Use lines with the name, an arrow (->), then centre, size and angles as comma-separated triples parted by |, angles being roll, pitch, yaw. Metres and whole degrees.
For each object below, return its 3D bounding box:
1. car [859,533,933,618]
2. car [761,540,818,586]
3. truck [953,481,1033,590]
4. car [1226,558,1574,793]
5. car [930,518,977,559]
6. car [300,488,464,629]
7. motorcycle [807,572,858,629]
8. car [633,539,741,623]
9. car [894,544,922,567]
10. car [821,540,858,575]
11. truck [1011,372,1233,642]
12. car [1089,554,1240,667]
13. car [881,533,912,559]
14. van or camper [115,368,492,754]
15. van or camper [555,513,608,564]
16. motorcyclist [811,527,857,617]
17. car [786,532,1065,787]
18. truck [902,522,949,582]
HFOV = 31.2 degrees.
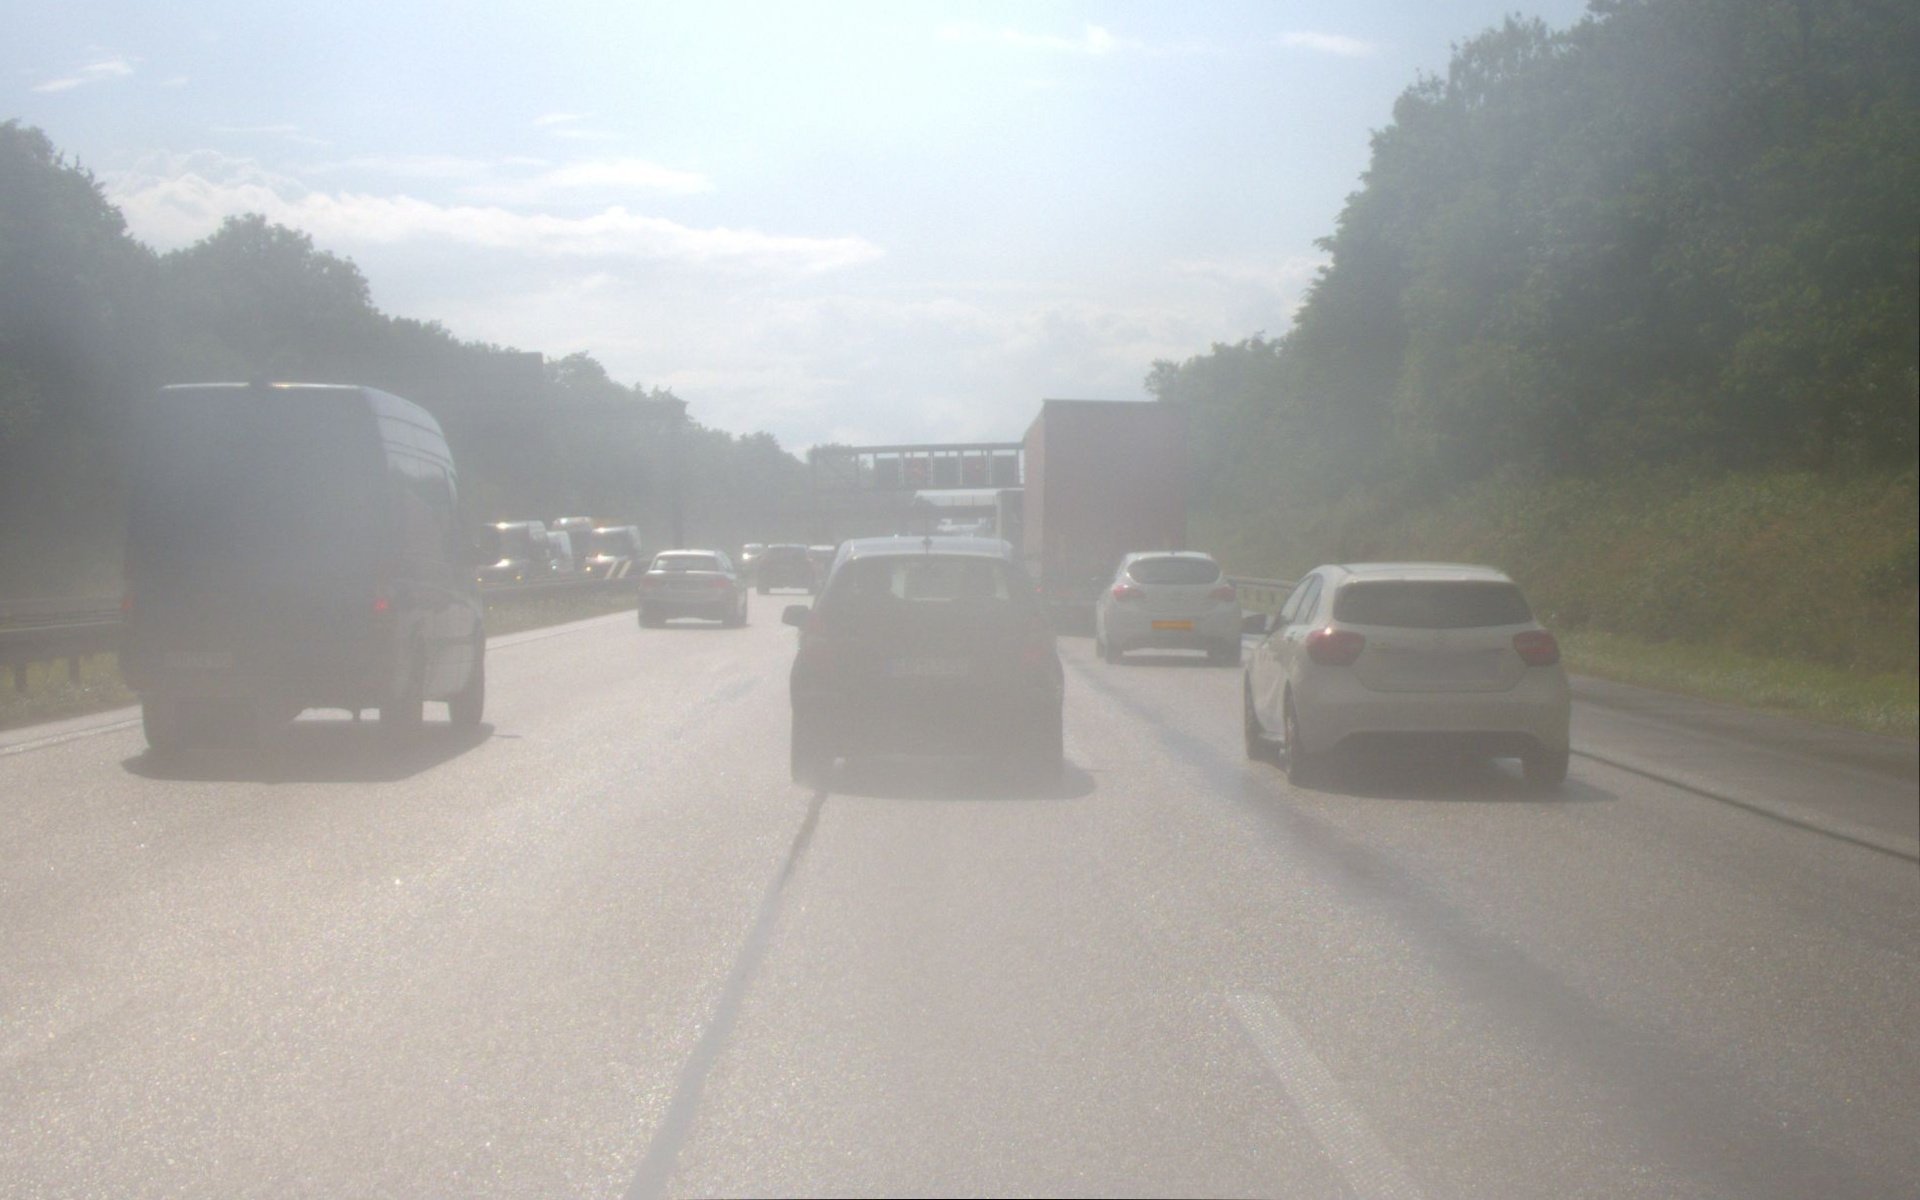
car -> -1.381, -0.536, 73.474 | 1.531, 1.740, 3.485 | 1, 1, -2
car -> -5.541, -1.209, 111.740 | 1.751, 1.452, 3.390 | 1, 1, -2
truck -> 1.368, -2.733, 148.101 | 3.256, 4.464, 12.421 | 1, 1, 0
car -> 2.875, 0.440, 23.293 | 1.692, 1.420, 4.220 | 1, 1, -2
car -> -0.232, -2.116, 119.105 | 1.552, 1.378, 3.210 | 1, 1, -2
car -> -10.586, -0.765, 63.402 | 2.183, 2.444, 5.748 | 1, 1, -2
motorcycle -> -2.321, -0.006, 62.862 | 0.890, 0.997, 2.896 | 1, 1, -2
car -> -5.196, -0.378, 65.717 | 1.854, 1.546, 3.485 | 1, 1, -2
car -> -3.822, -3.293, 253.292 | 1.993, 1.722, 4.000 | 0, 1, 0
car -> -4.913, -1.737, 139.868 | 1.460, 1.389, 3.312 | 1, 1, -2
truck -> 2.983, -1.741, 68.936 | 3.650, 4.704, 16.779 | 1, 1, 0
car -> 2.709, 0.109, 46.334 | 1.680, 1.437, 3.905 | 1, 1, -2
car -> -4.281, -3.652, 233.052 | 1.993, 1.695, 4.000 | -1, 1, 0
van or camper -> -4.931, -0.306, 26.592 | 1.993, 2.659, 5.385 | 1, 1, -2
van or camper -> -22.414, -3.619, 203.770 | 2.500, 2.911, 7.139 | 1, 1, -2
motorcyclist -> -2.298, -0.519, 62.812 | 0.801, 1.627, 1.013 | 1, 1, -2
car -> -0.262, 0.348, 23.106 | 1.717, 1.562, 3.485 | 1, 1, -2
truck -> -1.716, -2.361, 168.934 | 2.192, 2.865, 4.850 | 1, 1, -2
